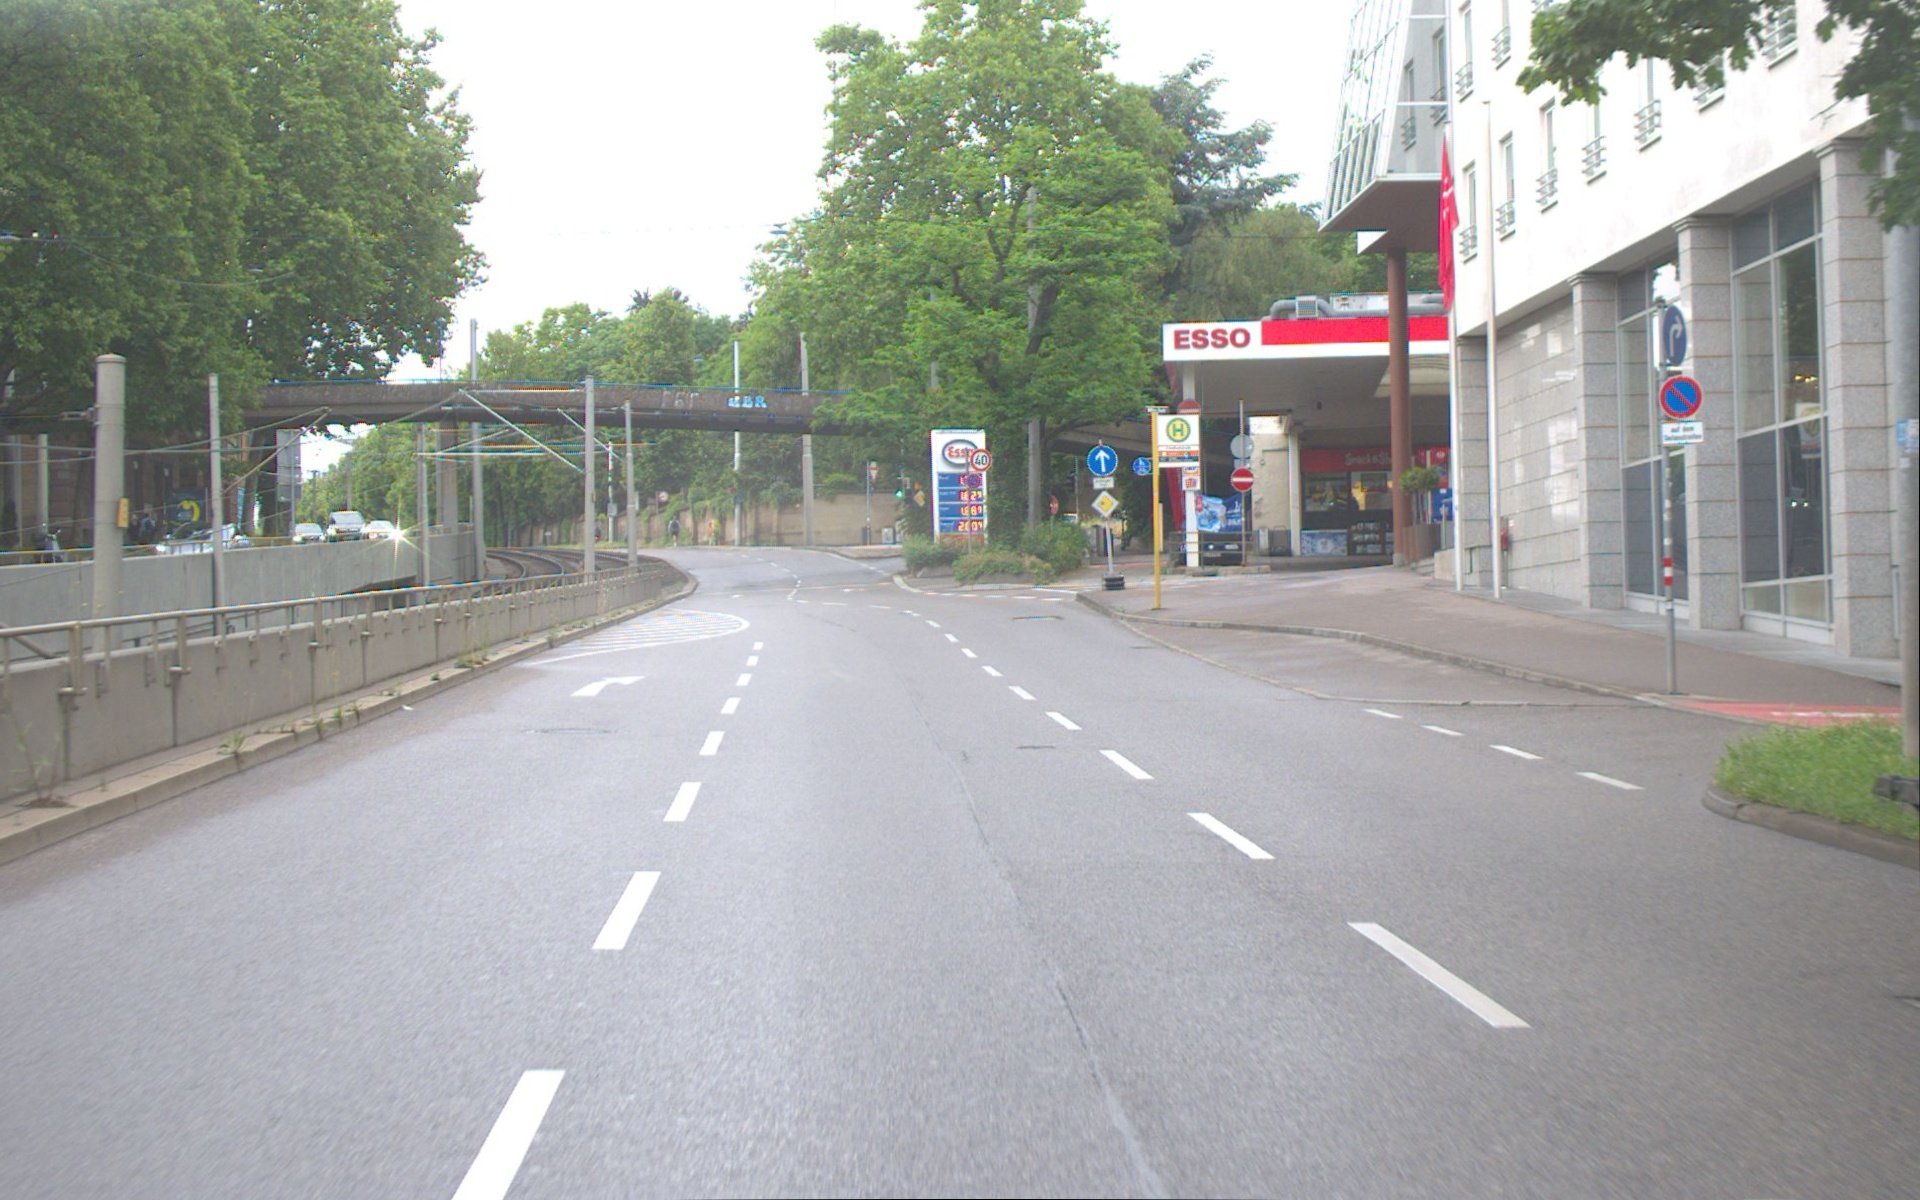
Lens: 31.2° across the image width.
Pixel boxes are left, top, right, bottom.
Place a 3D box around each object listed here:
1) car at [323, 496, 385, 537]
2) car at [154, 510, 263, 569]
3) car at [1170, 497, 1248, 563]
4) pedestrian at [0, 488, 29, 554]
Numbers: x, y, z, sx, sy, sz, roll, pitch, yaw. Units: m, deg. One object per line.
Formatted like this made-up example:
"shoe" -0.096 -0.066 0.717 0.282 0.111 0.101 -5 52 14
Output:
"car" -27.949 -3.848 158.720 1.956 1.846 4.968 1 1 0
"car" -20.126 -1.635 92.205 2.026 1.505 4.883 1 1 -2
"car" 6.629 -1.849 91.288 1.773 1.618 3.865 -3 1 7
"pedestrian" -29.261 -2.425 106.258 0.669 2.007 0.935 1 0 1
